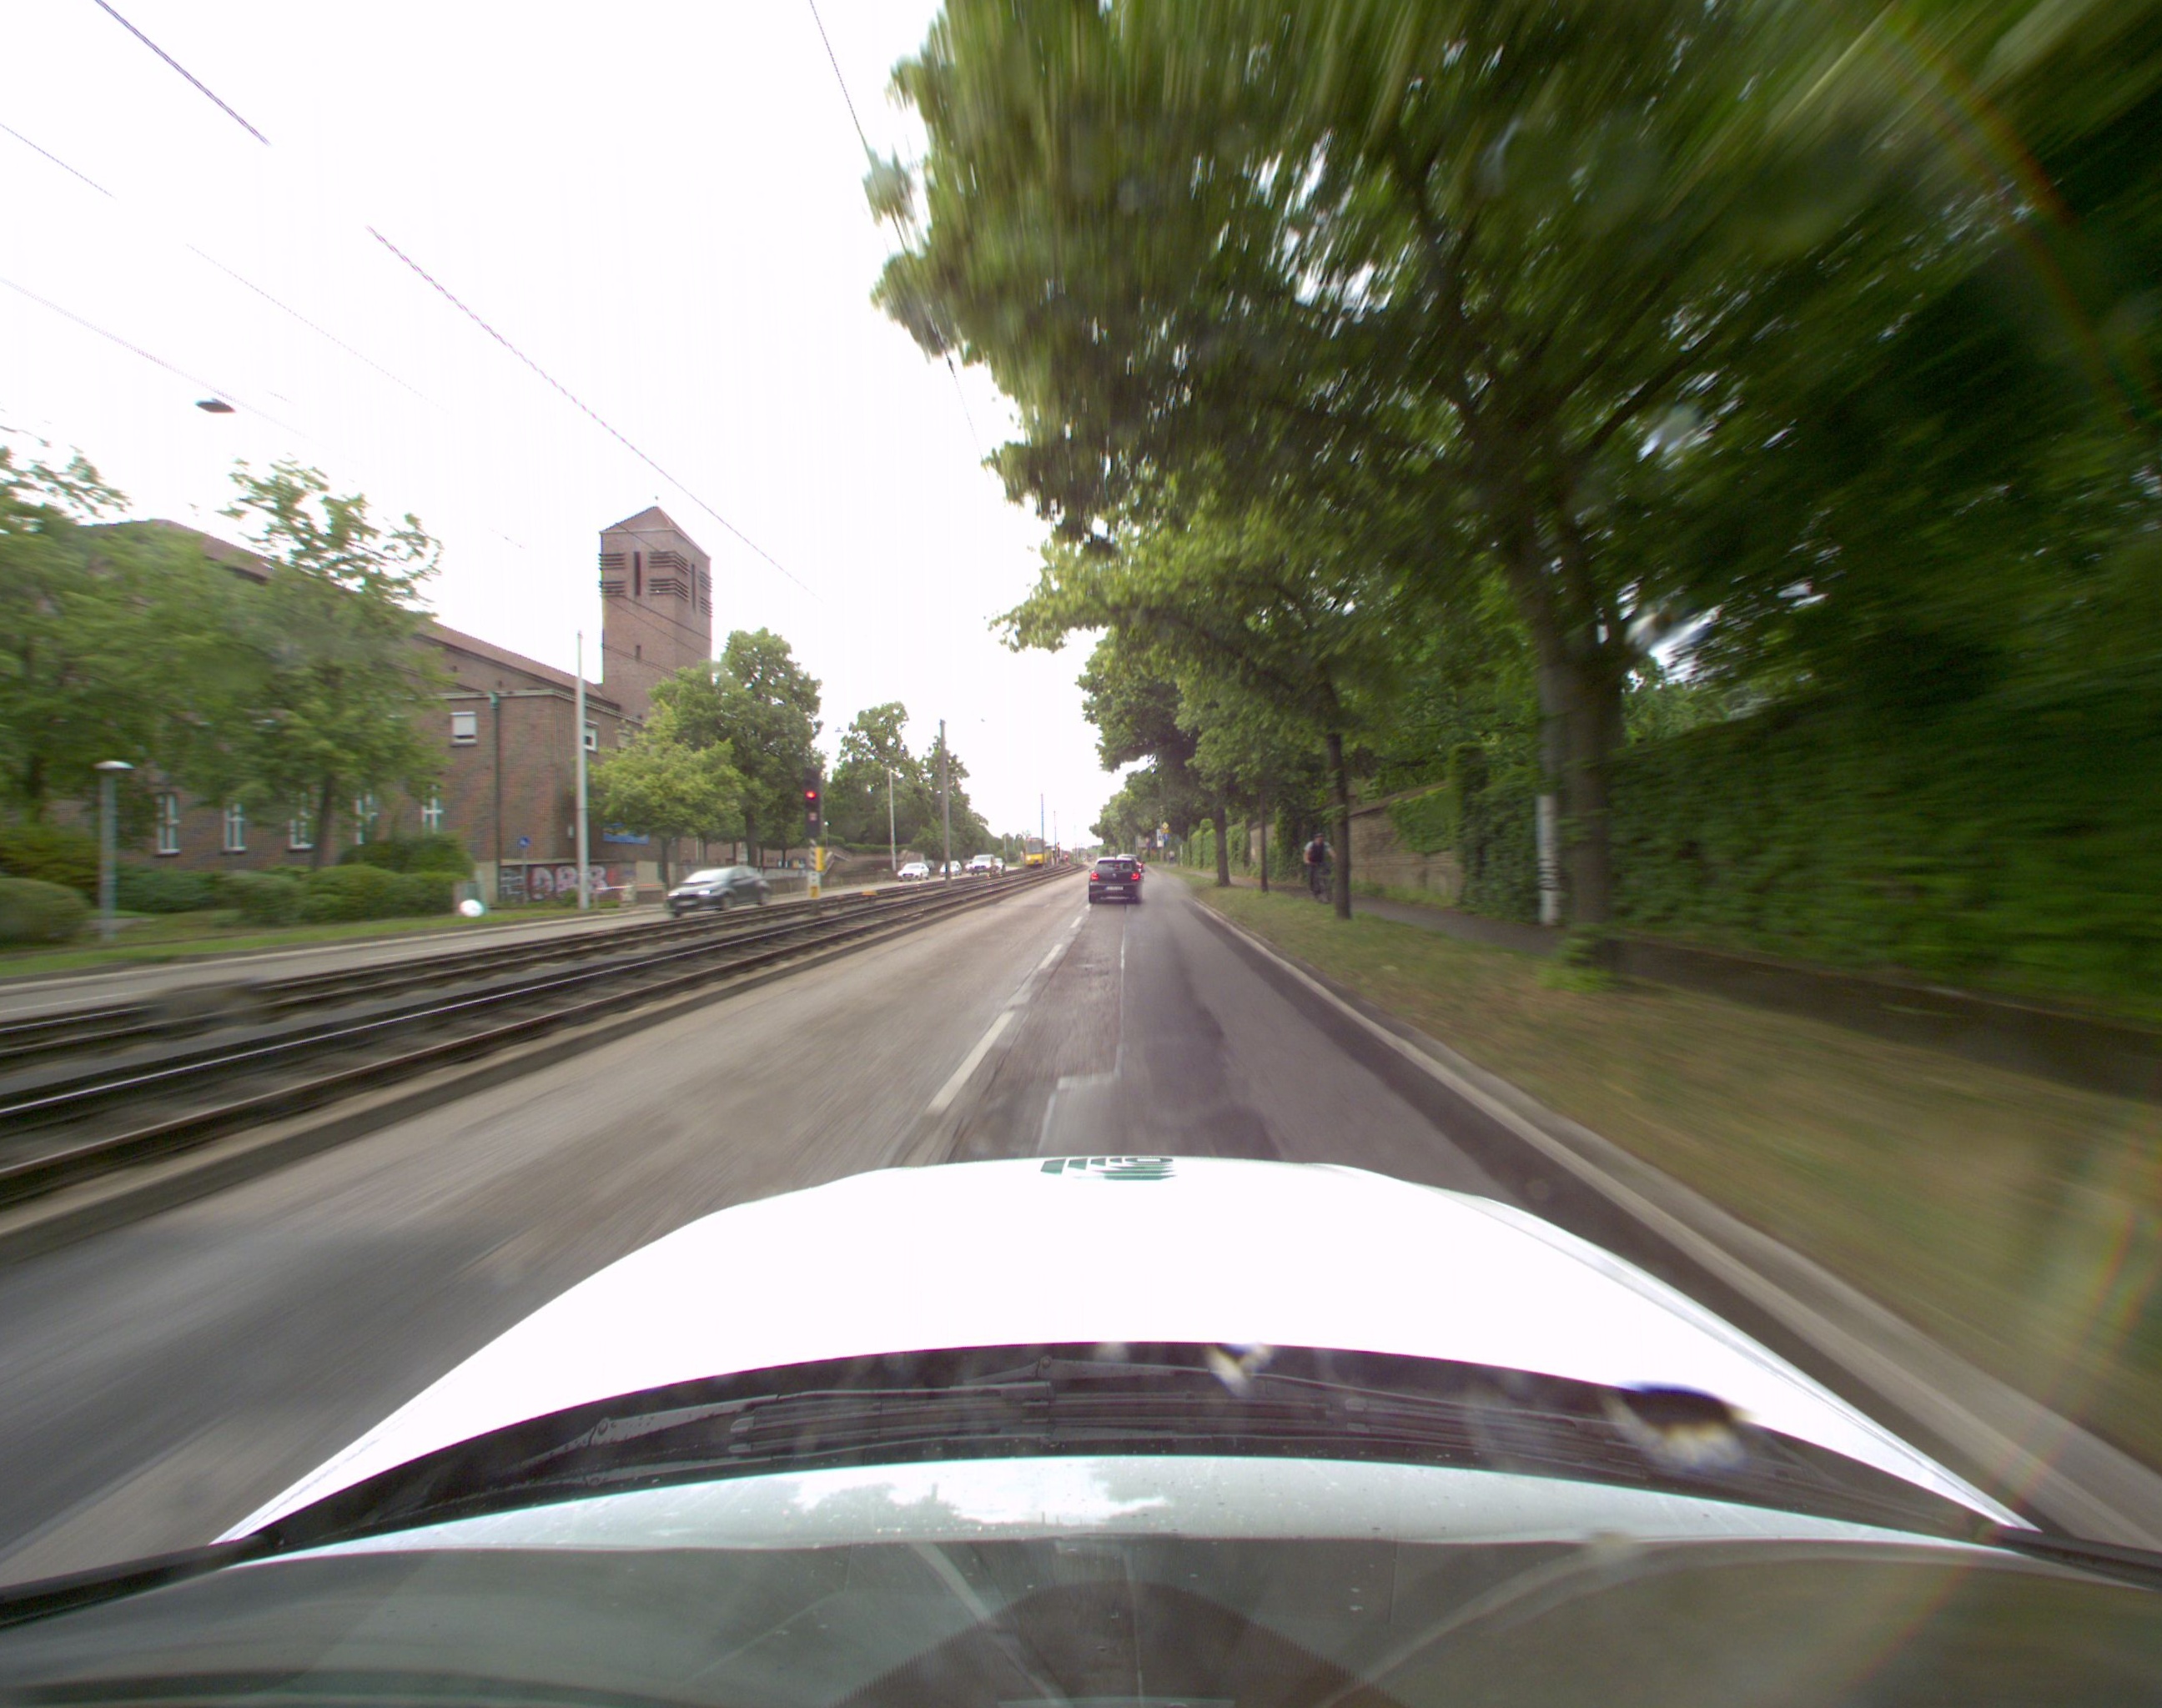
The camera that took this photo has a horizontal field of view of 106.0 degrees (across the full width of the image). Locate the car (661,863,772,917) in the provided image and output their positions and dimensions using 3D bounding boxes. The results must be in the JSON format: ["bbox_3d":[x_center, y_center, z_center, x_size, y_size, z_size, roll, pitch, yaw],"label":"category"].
[{"bbox_3d":[-11.440,1.086,25.836,1.673,1.461,3.612,-2,0,3],"label":"car"}]

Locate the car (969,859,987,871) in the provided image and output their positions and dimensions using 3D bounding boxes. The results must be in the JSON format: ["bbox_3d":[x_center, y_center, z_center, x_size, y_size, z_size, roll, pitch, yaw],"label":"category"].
[{"bbox_3d":[-12.041,1.269,95.423,1.552,1.338,3.650,-1,0,2],"label":"car"}]

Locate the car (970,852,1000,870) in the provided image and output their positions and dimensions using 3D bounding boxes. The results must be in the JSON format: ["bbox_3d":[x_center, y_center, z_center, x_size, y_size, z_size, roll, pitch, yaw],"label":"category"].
[{"bbox_3d":[-9.123,0.666,77.804,1.986,1.662,5.130,-1,0,2],"label":"car"}]

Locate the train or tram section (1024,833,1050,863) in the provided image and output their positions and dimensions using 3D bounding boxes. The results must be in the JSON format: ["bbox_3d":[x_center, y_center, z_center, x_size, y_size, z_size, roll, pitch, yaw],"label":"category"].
[{"bbox_3d":[-5.516,-0.721,103.276,2.823,3.605,9.269,-1,0,0],"label":"train or tram section"}]

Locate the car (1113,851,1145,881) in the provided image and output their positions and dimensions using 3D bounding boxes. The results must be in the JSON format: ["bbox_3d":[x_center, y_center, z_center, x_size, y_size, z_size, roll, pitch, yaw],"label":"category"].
[{"bbox_3d":[2.681,0.640,45.345,1.669,1.531,3.725,-2,0,3],"label":"car"}]

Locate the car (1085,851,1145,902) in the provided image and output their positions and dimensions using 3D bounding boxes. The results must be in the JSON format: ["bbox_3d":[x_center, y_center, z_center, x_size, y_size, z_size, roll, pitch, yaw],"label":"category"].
[{"bbox_3d":[1.093,0.673,26.559,1.787,1.485,3.966,0,1,2],"label":"car"}]

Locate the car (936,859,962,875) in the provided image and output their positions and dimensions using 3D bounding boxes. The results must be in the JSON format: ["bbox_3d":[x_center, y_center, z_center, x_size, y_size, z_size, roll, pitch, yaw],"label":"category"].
[{"bbox_3d":[-12.859,1.238,79.580,1.721,1.443,4.003,-1,0,2],"label":"car"}]

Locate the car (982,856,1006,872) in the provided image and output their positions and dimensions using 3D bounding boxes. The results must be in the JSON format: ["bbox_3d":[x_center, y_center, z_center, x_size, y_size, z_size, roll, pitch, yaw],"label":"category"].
[{"bbox_3d":[-9.382,1.043,88.151,1.986,1.576,4.538,-1,0,2],"label":"car"}]

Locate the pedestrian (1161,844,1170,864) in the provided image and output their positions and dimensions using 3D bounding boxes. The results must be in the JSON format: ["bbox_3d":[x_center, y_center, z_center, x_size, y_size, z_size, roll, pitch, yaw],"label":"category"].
[{"bbox_3d":[12.695,-0.006,122.428,1.159,2.977,0.948,-1,0,2],"label":"pedestrian"}]

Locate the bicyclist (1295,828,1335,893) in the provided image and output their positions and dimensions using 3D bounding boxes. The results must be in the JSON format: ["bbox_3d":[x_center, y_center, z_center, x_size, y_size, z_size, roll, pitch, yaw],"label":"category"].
[{"bbox_3d":[6.074,0.158,21.178,0.760,1.616,0.999,-2,0,2],"label":"bicyclist"}]

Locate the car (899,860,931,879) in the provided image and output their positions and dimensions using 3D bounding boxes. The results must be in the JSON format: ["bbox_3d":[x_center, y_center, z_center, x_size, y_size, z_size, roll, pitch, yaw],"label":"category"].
[{"bbox_3d":[-13.219,1.192,64.995,1.610,1.434,4.003,-1,0,2],"label":"car"}]

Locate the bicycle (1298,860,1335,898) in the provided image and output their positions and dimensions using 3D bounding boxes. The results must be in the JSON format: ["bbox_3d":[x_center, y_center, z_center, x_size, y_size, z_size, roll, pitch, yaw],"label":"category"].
[{"bbox_3d":[6.077,0.625,21.082,0.405,0.902,2.100,-2,0,3],"label":"bicycle"}]
